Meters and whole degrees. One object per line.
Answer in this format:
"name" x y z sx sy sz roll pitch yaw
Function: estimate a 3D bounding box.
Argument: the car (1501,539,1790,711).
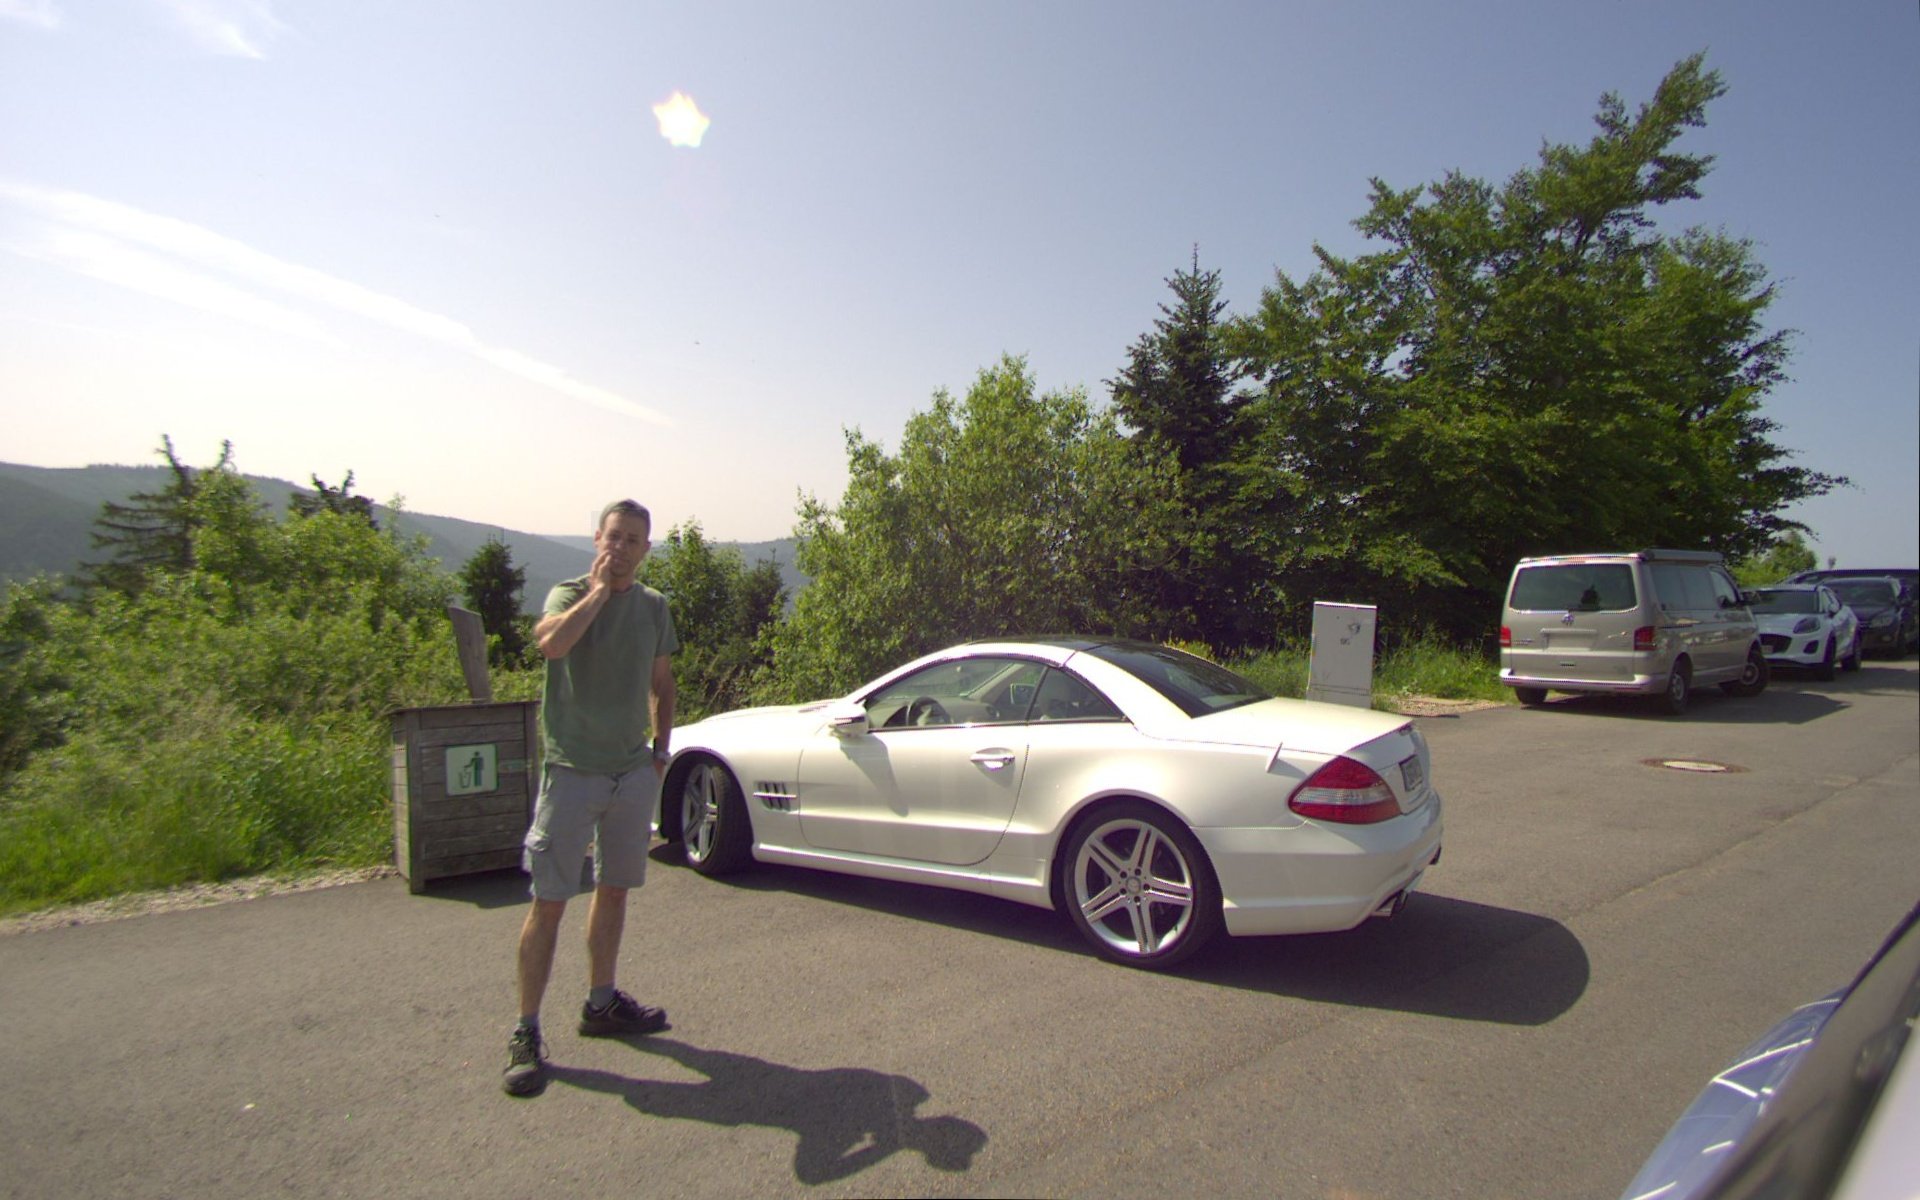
"car" 9.337 0.277 13.658 4.523 1.960 1.862 0 0 -37

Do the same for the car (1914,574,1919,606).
"car" 51.738 -0.405 51.787 1.842 1.634 3.913 0 4 -37

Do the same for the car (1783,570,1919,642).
"car" 22.328 0.133 24.095 3.967 1.639 1.856 0 0 31

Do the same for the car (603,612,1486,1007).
"car" 0.228 0.728 5.345 4.380 1.312 1.735 -1 -1 34

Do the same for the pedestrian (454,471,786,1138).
"pedestrian" -1.096 0.550 3.284 0.733 1.822 0.737 0 1 40

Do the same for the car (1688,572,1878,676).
"car" 14.167 0.341 17.349 3.930 1.567 1.873 -1 0 -41

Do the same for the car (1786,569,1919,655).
"car" 18.904 0.203 21.156 3.930 1.639 1.873 -1 0 -41

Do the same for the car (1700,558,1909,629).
"car" 24.515 -0.166 29.616 4.424 1.949 1.856 0 0 31
